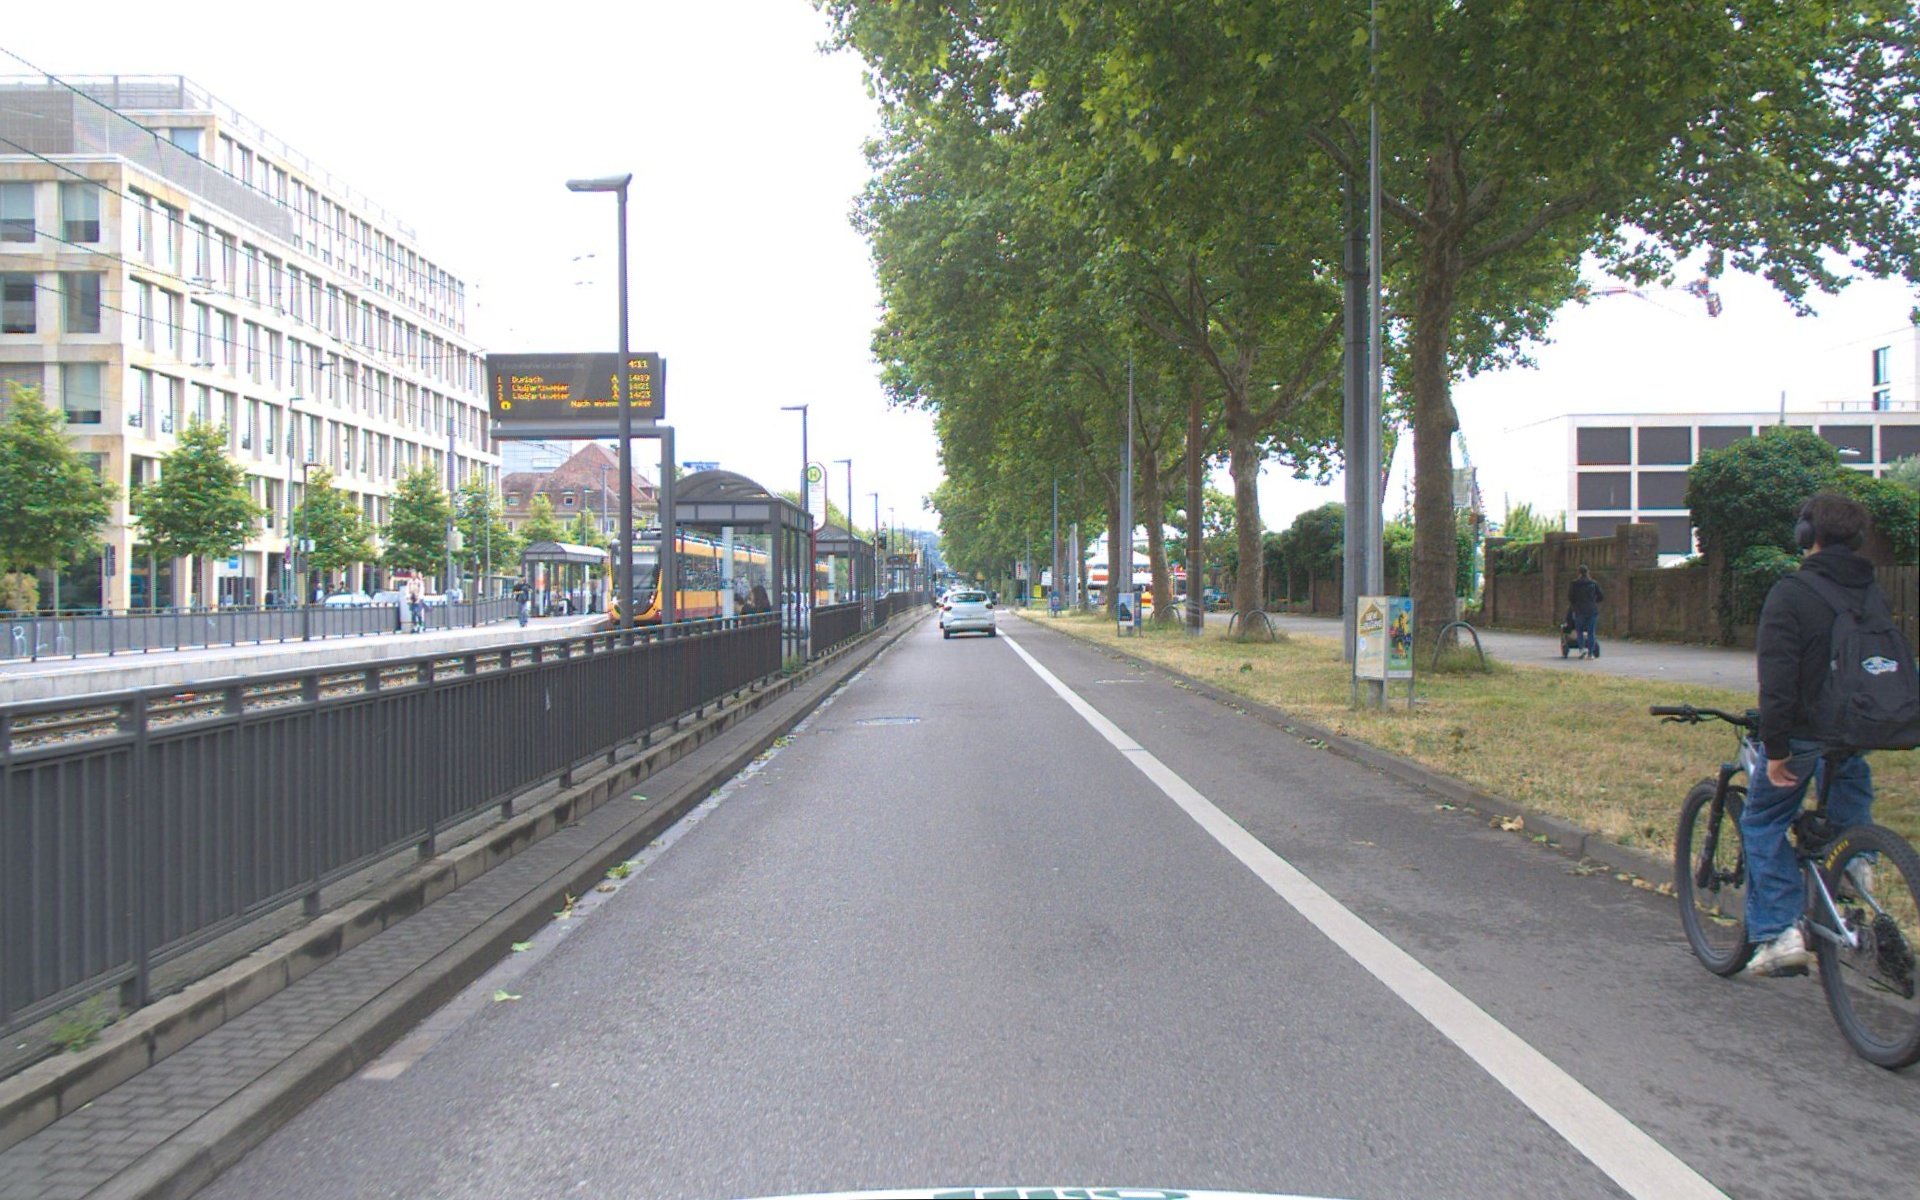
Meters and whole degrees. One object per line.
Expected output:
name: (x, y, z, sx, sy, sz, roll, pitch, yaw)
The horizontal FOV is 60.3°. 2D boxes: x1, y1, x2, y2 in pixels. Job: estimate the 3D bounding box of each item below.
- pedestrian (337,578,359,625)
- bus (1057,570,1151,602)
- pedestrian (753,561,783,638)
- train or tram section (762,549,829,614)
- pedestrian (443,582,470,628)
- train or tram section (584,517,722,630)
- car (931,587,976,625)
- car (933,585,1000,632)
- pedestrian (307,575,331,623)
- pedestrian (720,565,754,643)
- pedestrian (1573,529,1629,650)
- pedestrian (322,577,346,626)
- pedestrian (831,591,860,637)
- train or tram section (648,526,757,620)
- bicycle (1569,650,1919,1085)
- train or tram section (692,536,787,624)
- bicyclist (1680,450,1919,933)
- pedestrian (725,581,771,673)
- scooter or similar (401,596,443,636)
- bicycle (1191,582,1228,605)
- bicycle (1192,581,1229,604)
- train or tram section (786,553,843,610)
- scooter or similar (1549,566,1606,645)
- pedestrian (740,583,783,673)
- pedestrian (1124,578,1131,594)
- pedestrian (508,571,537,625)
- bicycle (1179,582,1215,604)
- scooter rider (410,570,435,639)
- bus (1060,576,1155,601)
pedestrian: (-26.742, 0.060, 72.281, 0.698, 2.049, 0.725, -1, 0, -1)
bus: (14.345, -1.372, 164.600, 9.091, 3.011, 1.999, -1, 0, -3)
pedestrian: (-4.657, -0.019, 40.001, 0.657, 1.825, 1.111, -1, 0, -9)
train or tram section: (-11.505, -1.187, 117.133, 3.115, 4.252, 14.733, -1, 0, 0)
pedestrian: (-22.767, 0.218, 74.828, 0.914, 2.049, 1.032, -1, 0, -2)
train or tram section: (-11.702, -0.931, 64.319, 3.171, 3.929, 11.311, -1, 0, 0)
car: (-0.259, 0.228, 72.611, 1.803, 1.579, 4.001, -1, 0, 1)
car: (0.261, 0.275, 54.843, 1.845, 1.478, 4.002, -1, 0, 5)
pedestrian: (-27.620, -0.037, 71.288, 0.698, 2.049, 0.725, -1, 0, 0)
pedestrian: (-5.272, 0.097, 39.072, 0.658, 1.825, 1.109, -1, 0, -13)
pedestrian: (11.112, -0.175, 28.684, 0.571, 2.049, 0.924, -1, 0, -1)
pedestrian: (-26.690, 0.055, 70.526, 0.698, 2.049, 0.725, -1, 0, -1)
pedestrian: (-3.355, 0.421, 48.504, 0.818, 1.326, 0.613, -1, 0, -2)
train or tram section: (-11.606, -1.117, 75.665, 3.098, 3.929, 11.311, -1, 0, 0)
bicycle: (2.947, 0.799, 5.883, 0.639, 1.170, 2.282, -1, 0, -2)
train or tram section: (-11.586, -0.974, 88.205, 3.115, 4.252, 13.620, -1, 0, 0)
bicyclist: (2.962, 0.295, 5.706, 0.628, 1.557, 0.664, -1, 0, -2)
pedestrian: (-3.189, 0.401, 24.942, 0.598, 1.364, 0.600, -1, 0, 0)
scooter or similar: (-16.065, 0.471, 49.428, 0.512, 1.134, 2.226, -1, 0, -1)
bicycle: (13.122, -0.362, 86.971, 1.852, 1.124, 0.549, -2, 0, -2)
bicycle: (13.261, -0.378, 87.556, 1.862, 1.116, 0.549, -2, 0, -2)
train or tram section: (-11.452, -1.389, 131.887, 3.115, 4.252, 14.733, -1, 0, 0)
scooter or similar: (11.097, 0.104, 29.742, 0.564, 1.378, 1.155, -1, 0, -1)
pedestrian: (-3.142, 0.437, 26.228, 0.598, 1.396, 0.600, -1, 0, 0)
pedestrian: (15.709, -1.343, 155.172, 0.483, 1.488, 0.523, -1, 0, -3)
pedestrian: (-14.993, -0.056, 56.724, 0.697, 1.827, 1.160, -1, 0, -1)
bicycle: (13.201, -0.394, 92.135, 1.883, 1.110, 0.549, -2, 0, -2)
scooter rider: (-16.072, 0.143, 49.493, 0.505, 2.044, 0.681, -1, 0, -1)
bus: (14.357, -1.136, 161.353, 9.091, 2.266, 1.999, -1, 0, -3)
